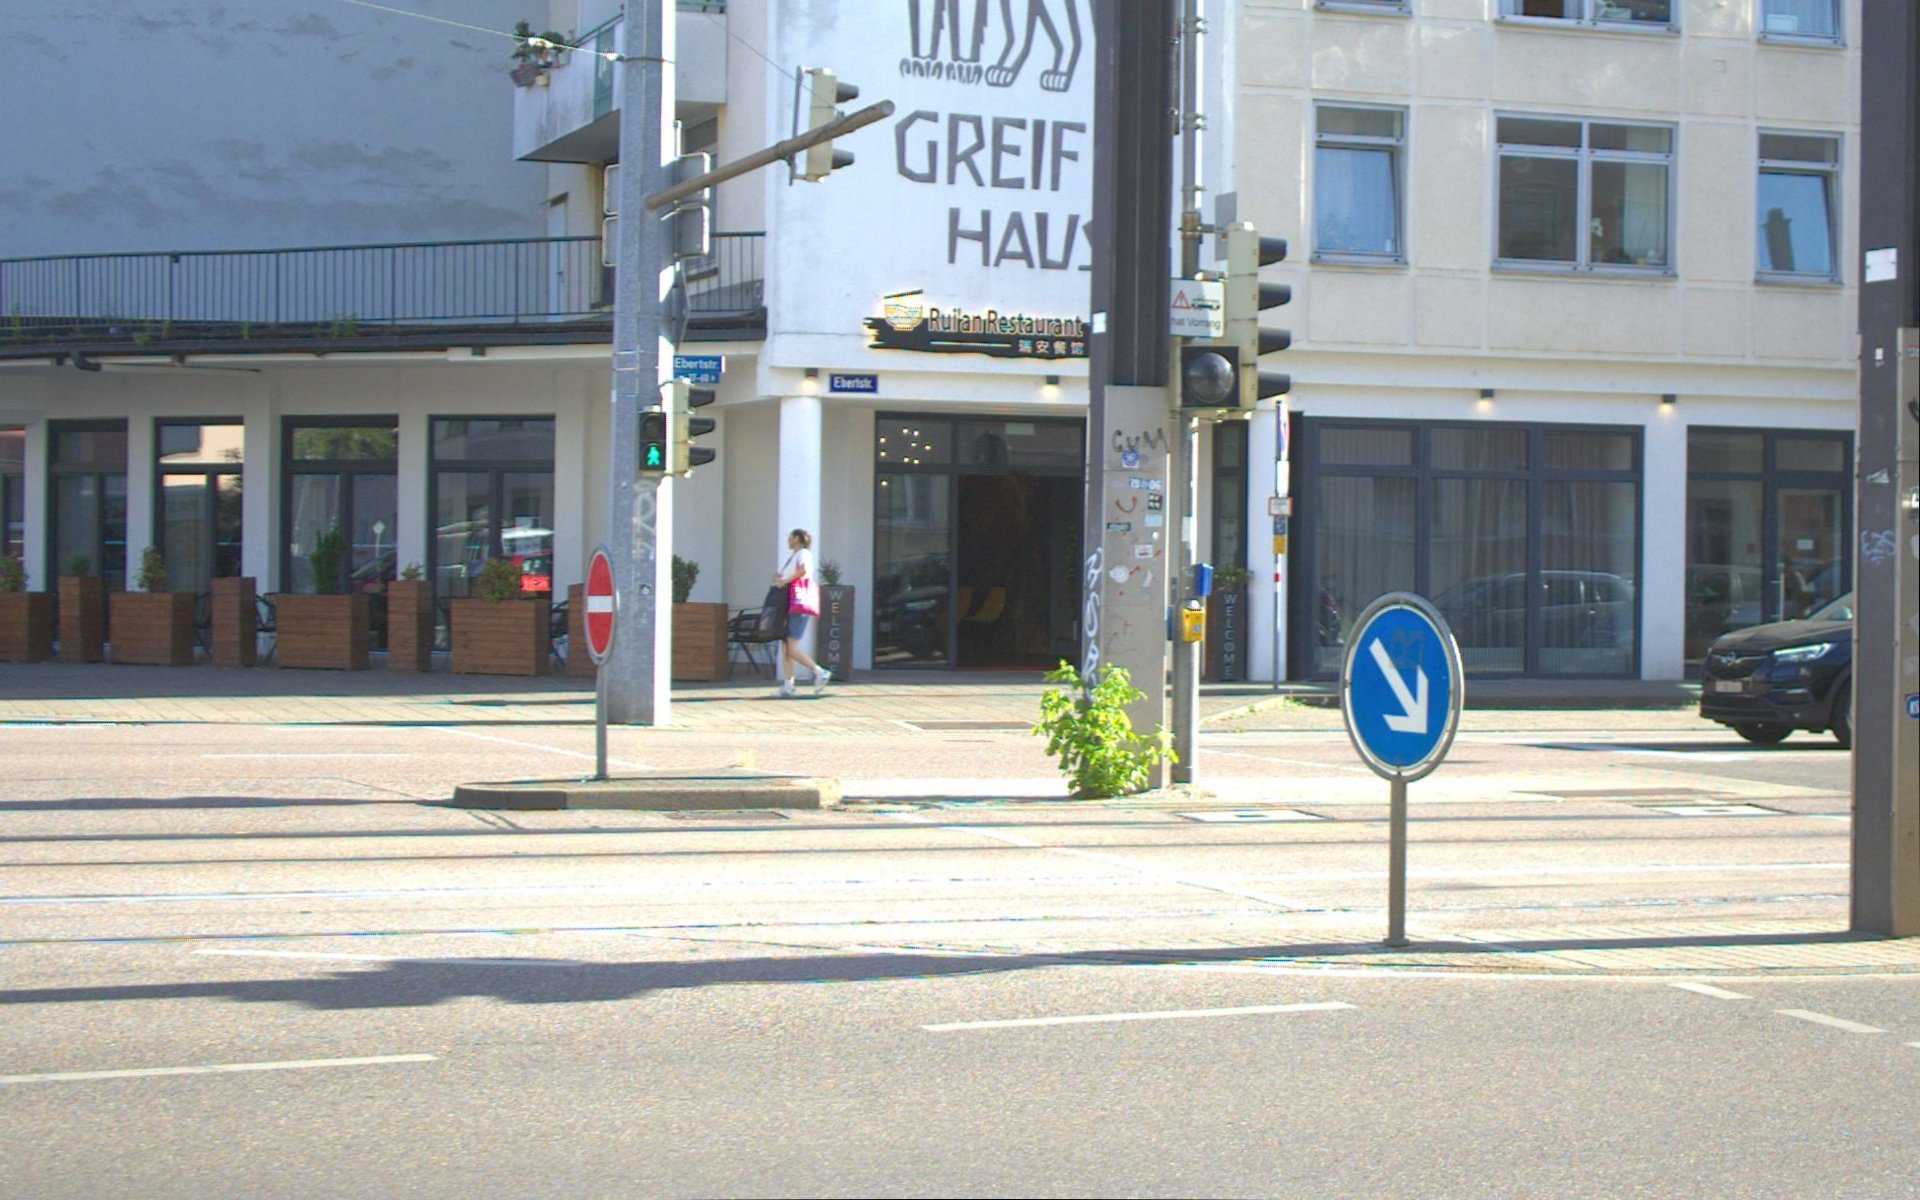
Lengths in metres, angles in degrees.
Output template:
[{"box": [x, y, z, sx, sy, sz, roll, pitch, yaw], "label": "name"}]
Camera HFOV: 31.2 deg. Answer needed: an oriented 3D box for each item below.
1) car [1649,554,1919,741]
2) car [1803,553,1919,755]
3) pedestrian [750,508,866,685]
[{"box": [8.408, 0.436, 30.759, 4.031, 1.570, 1.795, 1, 0, -21], "label": "car"}, {"box": [9.266, 0.463, 27.650, 4.437, 1.543, 1.937, 1, 0, -18], "label": "car"}, {"box": [-1.543, -0.032, 34.864, 0.906, 1.740, 0.737, 3, -1, -22], "label": "pedestrian"}]
